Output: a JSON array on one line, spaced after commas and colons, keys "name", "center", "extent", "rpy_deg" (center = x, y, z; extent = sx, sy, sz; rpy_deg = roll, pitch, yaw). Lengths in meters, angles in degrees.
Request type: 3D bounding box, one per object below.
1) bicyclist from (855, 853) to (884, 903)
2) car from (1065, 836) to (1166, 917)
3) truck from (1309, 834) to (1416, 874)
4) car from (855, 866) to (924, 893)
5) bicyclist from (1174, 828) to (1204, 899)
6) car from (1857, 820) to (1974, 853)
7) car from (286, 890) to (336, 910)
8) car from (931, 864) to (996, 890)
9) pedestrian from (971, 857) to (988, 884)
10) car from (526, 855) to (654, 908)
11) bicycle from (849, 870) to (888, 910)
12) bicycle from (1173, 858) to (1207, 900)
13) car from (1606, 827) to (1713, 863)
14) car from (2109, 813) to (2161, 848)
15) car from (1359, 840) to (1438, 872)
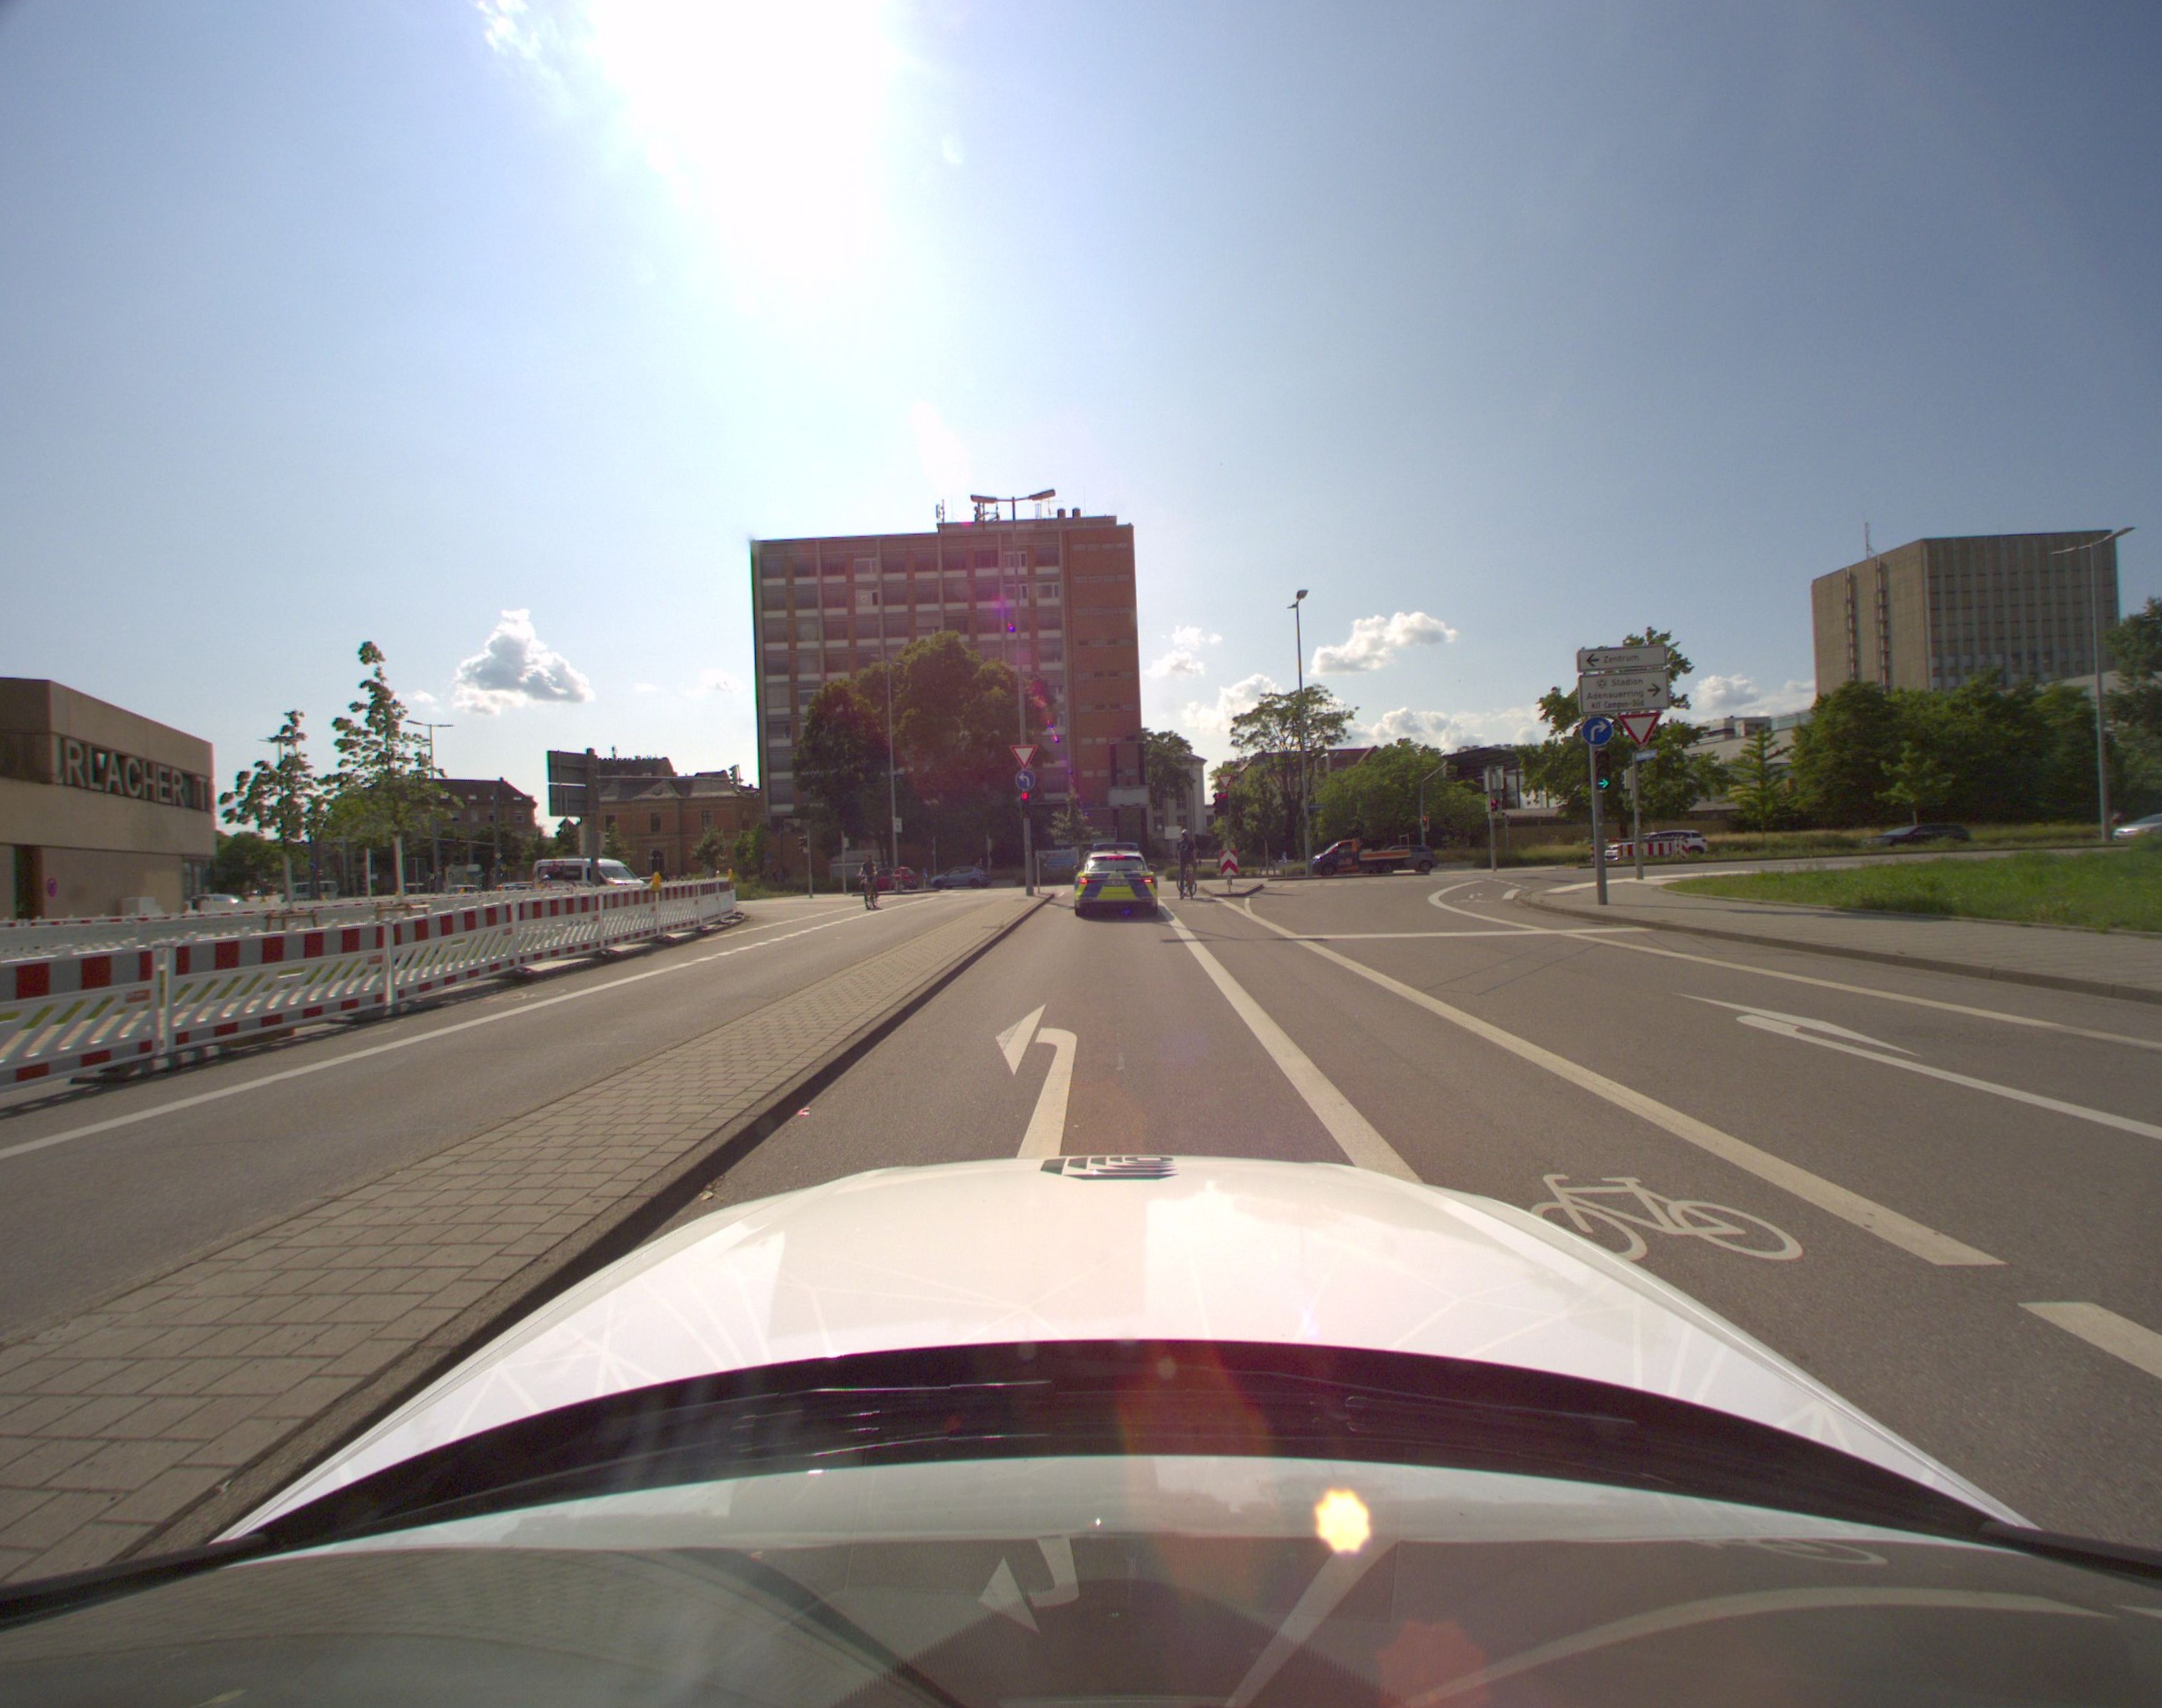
[{"name": "bicyclist", "center": [-6.527, 0.737, 25.126], "extent": [0.632, 1.470, 0.839], "rpy_deg": [-3, 1, -3]}, {"name": "car", "center": [0.798, 0.465, 19.309], "extent": [2.122, 1.684, 4.104], "rpy_deg": [-1, 0, 2]}, {"name": "truck", "center": [14.945, 0.013, 43.537], "extent": [5.084, 1.837, 2.006], "rpy_deg": [-3, 0, 10]}, {"name": "car", "center": [-11.756, 1.570, 49.942], "extent": [3.697, 1.456, 1.632], "rpy_deg": [-3, 0, 14]}, {"name": "bicyclist", "center": [3.129, 0.265, 23.665], "extent": [0.715, 1.973, 0.840], "rpy_deg": [-3, 1, 1]}, {"name": "car", "center": [41.071, -0.860, 40.149], "extent": [3.893, 1.419, 1.628], "rpy_deg": [-3, 0, 5]}, {"name": "car", "center": [-72.875, 4.327, 77.123], "extent": [3.690, 1.691, 2.065], "rpy_deg": [-3, 0, 23]}, {"name": "car", "center": [-7.463, 1.479, 51.866], "extent": [3.697, 1.456, 1.632], "rpy_deg": [-3, 0, 14]}, {"name": "pedestrian", "center": [-7.327, 1.190, 58.682], "extent": [0.939, 1.883, 0.909], "rpy_deg": [-3, 0, 5]}, {"name": "car", "center": [-24.130, 1.336, 40.045], "extent": [5.523, 2.319, 2.313], "rpy_deg": [-3, 0, 20]}, {"name": "bicycle", "center": [-6.509, 1.082, 25.050], "extent": [0.632, 1.084, 2.189], "rpy_deg": [-3, 1, -2]}, {"name": "bicycle", "center": [3.157, 0.708, 23.848], "extent": [0.718, 1.084, 2.192], "rpy_deg": [-3, 1, 2]}, {"name": "car", "center": [29.123, -0.442, 41.092], "extent": [4.132, 1.609, 1.628], "rpy_deg": [-3, 0, 5]}, {"name": "car", "center": [52.761, -1.192, 39.295], "extent": [3.892, 1.609, 1.629], "rpy_deg": [-3, 0, 6]}, {"name": "car", "center": [17.989, 0.130, 46.220], "extent": [3.887, 1.609, 1.631], "rpy_deg": [-3, 0, 10]}]
